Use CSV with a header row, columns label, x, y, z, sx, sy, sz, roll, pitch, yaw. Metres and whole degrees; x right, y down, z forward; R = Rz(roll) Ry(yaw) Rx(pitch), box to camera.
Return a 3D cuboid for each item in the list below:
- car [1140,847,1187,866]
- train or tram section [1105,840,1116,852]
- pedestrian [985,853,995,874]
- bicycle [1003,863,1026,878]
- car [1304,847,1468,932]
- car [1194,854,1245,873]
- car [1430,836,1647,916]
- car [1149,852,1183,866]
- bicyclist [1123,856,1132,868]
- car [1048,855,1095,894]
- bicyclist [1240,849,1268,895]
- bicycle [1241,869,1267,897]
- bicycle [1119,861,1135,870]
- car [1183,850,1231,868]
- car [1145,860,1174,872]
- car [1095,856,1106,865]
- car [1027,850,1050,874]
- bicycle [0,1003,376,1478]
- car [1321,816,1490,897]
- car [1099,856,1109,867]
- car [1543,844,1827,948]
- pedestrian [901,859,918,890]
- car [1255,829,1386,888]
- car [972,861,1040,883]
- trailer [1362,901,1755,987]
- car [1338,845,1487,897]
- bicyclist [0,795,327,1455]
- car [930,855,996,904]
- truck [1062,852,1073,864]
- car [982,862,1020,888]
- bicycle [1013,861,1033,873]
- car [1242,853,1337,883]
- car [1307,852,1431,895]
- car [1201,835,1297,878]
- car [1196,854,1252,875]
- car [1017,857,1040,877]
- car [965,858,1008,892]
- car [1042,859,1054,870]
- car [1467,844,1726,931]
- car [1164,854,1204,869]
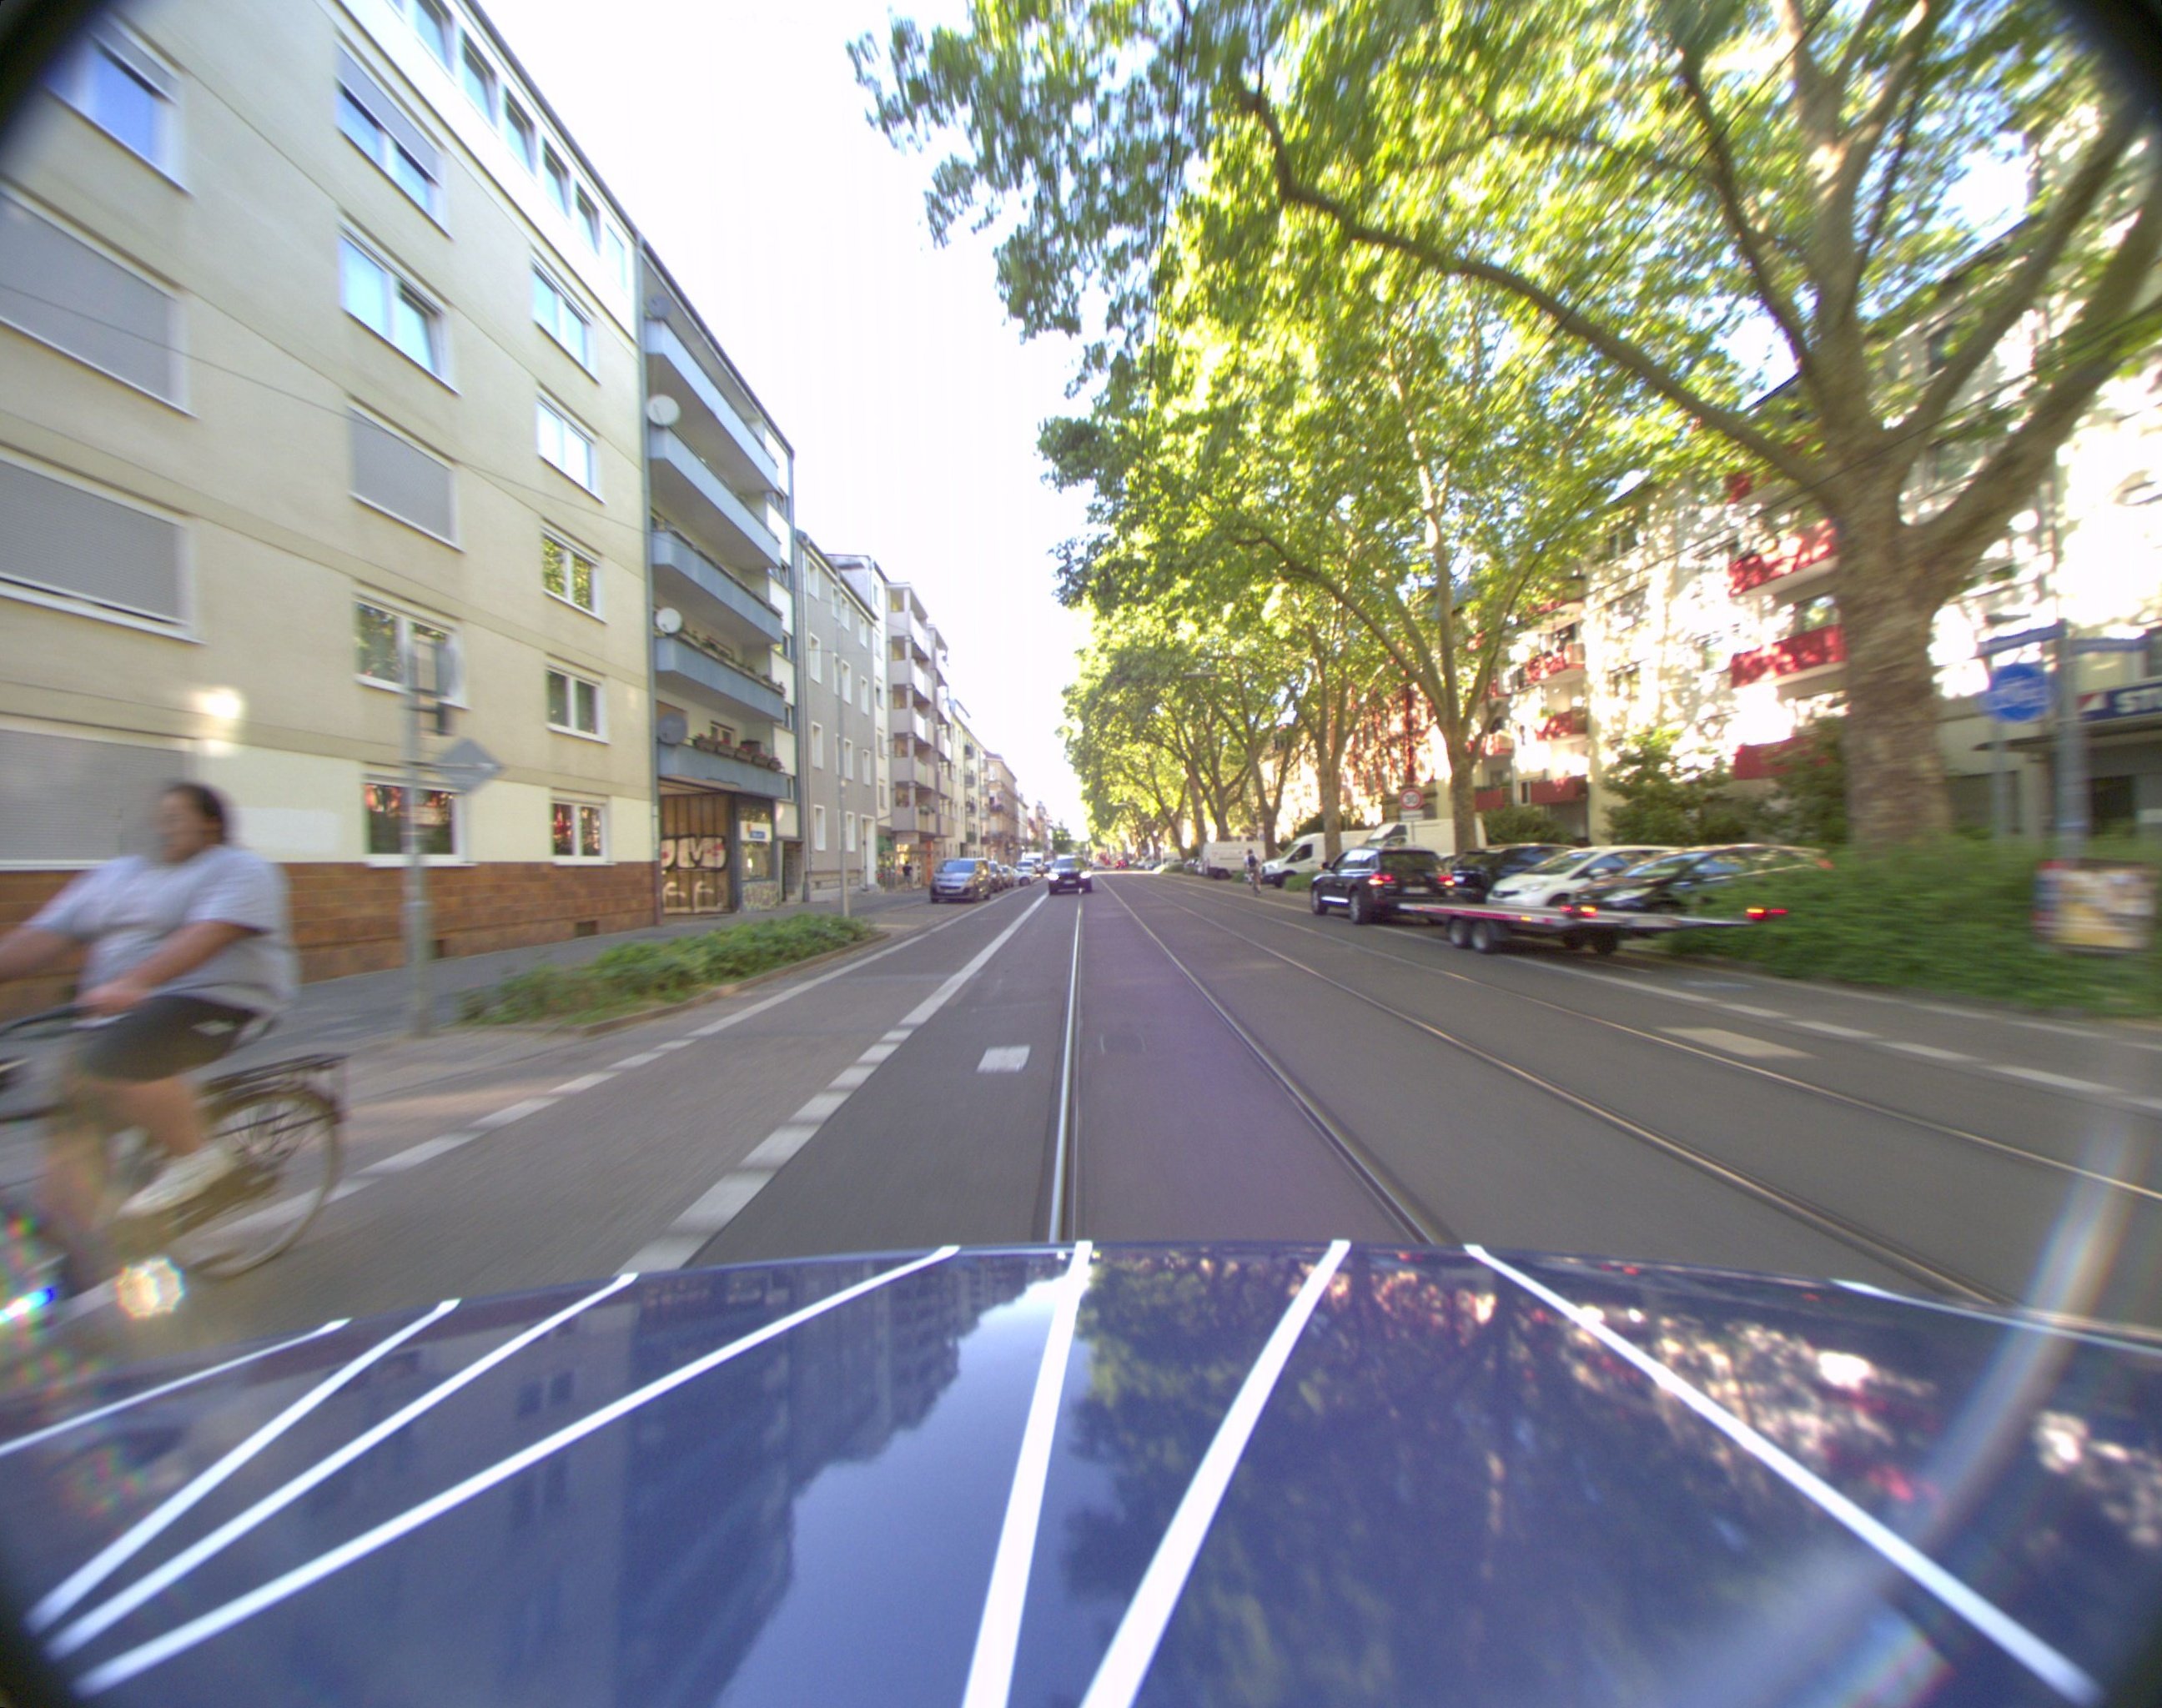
label,x,y,z,sx,sy,sz,roll,pitch,yaw
car,12.063,0.371,111.756,6.618,2.393,2.000,-4,0,1
train or tram section,9.255,-2.432,240.466,2.944,3.598,11.062,-4,1,2
pedestrian,-7.887,0.831,65.717,0.711,1.812,1.082,-1,1,2
bicycle,-5.352,1.347,61.118,1.828,1.184,0.457,0,0,0
car,6.787,0.714,17.502,1.998,1.690,4.484,0,0,0
car,11.281,0.782,62.025,3.802,1.451,1.704,-2,0,1
car,10.738,0.494,18.046,3.997,1.637,1.894,-2,0,-1
car,11.470,0.704,102.617,4.331,1.702,1.816,-2,0,-3
bicyclist,5.900,1.052,96.728,0.870,1.517,0.735,-2,0,-22
car,-0.381,0.906,36.263,1.948,1.694,4.631,-2,0,2
bicyclist,6.470,0.679,28.440,0.786,1.668,0.957,-2,0,0
bicycle,6.490,1.082,28.522,0.522,0.956,1.929,-2,0,1
bicycle,5.871,1.477,96.701,1.878,1.025,0.627,-2,0,-22
car,11.766,0.455,70.885,4.000,1.452,1.769,-2,0,-9
car,10.926,1.658,105.630,3.779,1.509,1.747,-2,0,-3
car,3.201,1.035,123.676,1.722,1.351,4.470,-2,0,1
car,-4.632,0.801,83.716,2.154,2.481,6.088,-2,0,0
bicycle,-3.366,1.200,2.204,0.703,1.086,1.990,-4,1,0
car,11.249,0.070,26.555,4.957,2.552,2.082,-2,0,-4
car,4.624,1.530,152.948,1.922,2.214,4.961,-2,0,3
car,10.132,0.657,12.940,3.440,1.521,1.787,-2,0,-3
pedestrian,-9.577,1.151,42.479,0.758,1.710,0.720,-2,0,1
car,10.994,0.199,35.173,5.373,2.463,2.057,-2,0,1
car,-5.351,1.240,53.664,4.629,1.429,1.863,-1,0,-11
trailer,6.759,1.248,12.066,2.166,0.628,6.399,0,0,-1
car,10.458,0.514,24.168,3.864,1.469,1.860,-2,0,-1
bicyclist,-3.286,0.729,2.406,0.788,1.749,0.914,-2,1,0
car,-5.007,1.018,32.868,1.863,1.879,4.925,-2,0,2
truck,-3.651,1.110,207.858,2.842,3.145,7.291,-4,1,0
car,-5.067,1.308,48.418,1.728,1.516,4.513,-2,0,2
bicycle,-4.975,1.118,64.724,1.657,1.049,0.457,0,0,0
car,10.903,0.734,39.961,4.421,1.376,1.933,-2,0,0
car,10.985,0.729,29.227,4.029,1.457,1.872,-2,0,1
car,10.981,0.166,49.948,5.755,2.521,2.162,-3,0,1
car,11.196,0.794,59.653,3.997,1.487,1.830,-2,0,1
car,-5.027,1.223,73.362,1.863,1.810,4.350,1,1,0
car,-5.089,1.106,41.391,1.771,1.695,4.282,-2,0,0
car,-4.508,1.414,104.554,1.653,1.412,4.059,0,0,-1
car,10.269,0.637,15.350,3.997,1.513,1.771,-2,0,-1
car,10.904,0.791,80.670,3.997,1.451,1.879,-2,0,0
